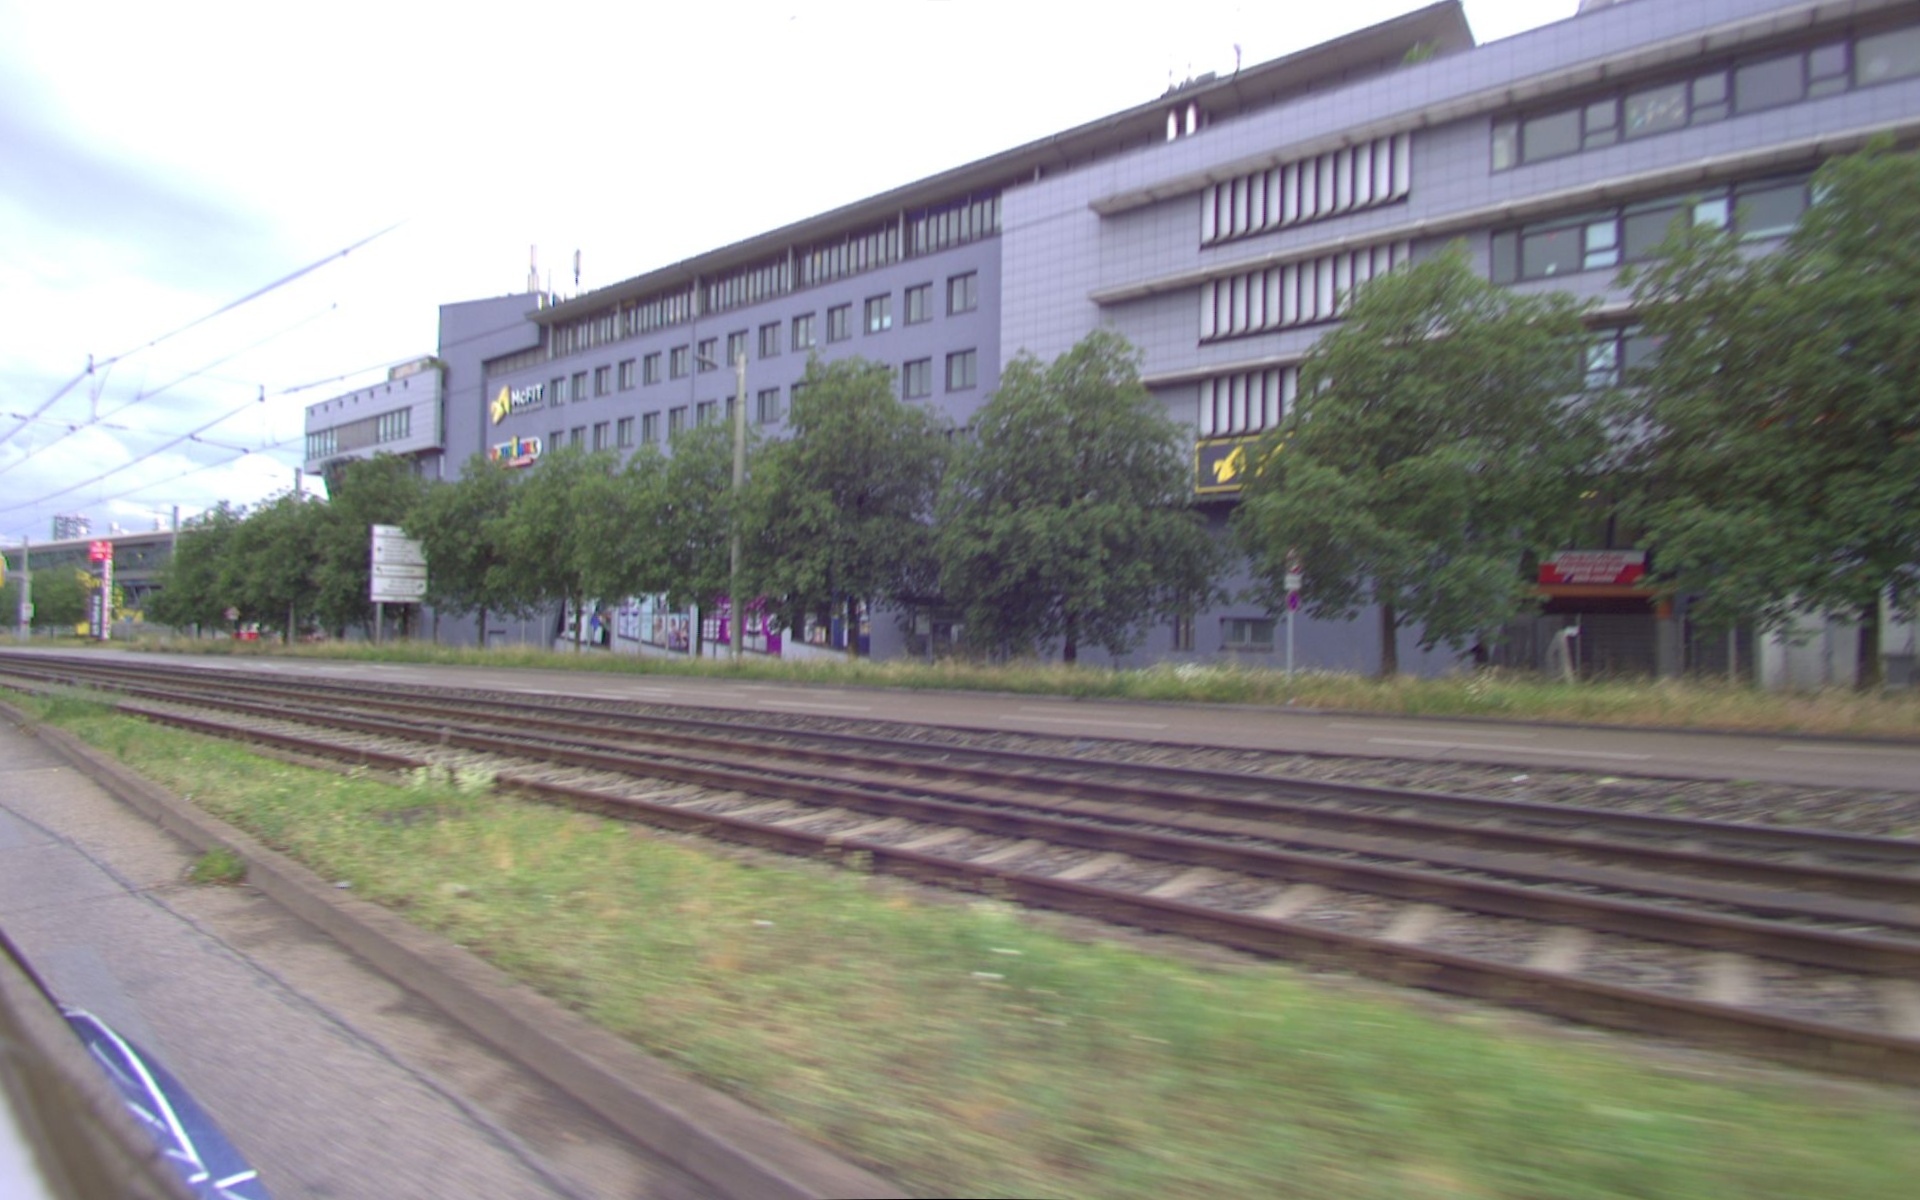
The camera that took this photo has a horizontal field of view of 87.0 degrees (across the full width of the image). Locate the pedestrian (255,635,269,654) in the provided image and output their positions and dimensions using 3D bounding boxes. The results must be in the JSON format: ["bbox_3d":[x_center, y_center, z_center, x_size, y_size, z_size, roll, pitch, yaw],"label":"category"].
[{"bbox_3d":[-61.234,3.889,88.759,0.578,1.692,0.802,-1,-3,27],"label":"pedestrian"}]

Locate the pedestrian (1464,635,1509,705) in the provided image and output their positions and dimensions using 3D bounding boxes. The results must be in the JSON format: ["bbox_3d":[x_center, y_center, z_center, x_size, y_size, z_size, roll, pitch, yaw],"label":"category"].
[{"bbox_3d":[13.889,1.821,26.711,0.877,1.768,0.717,-2,0,41],"label":"pedestrian"}]
